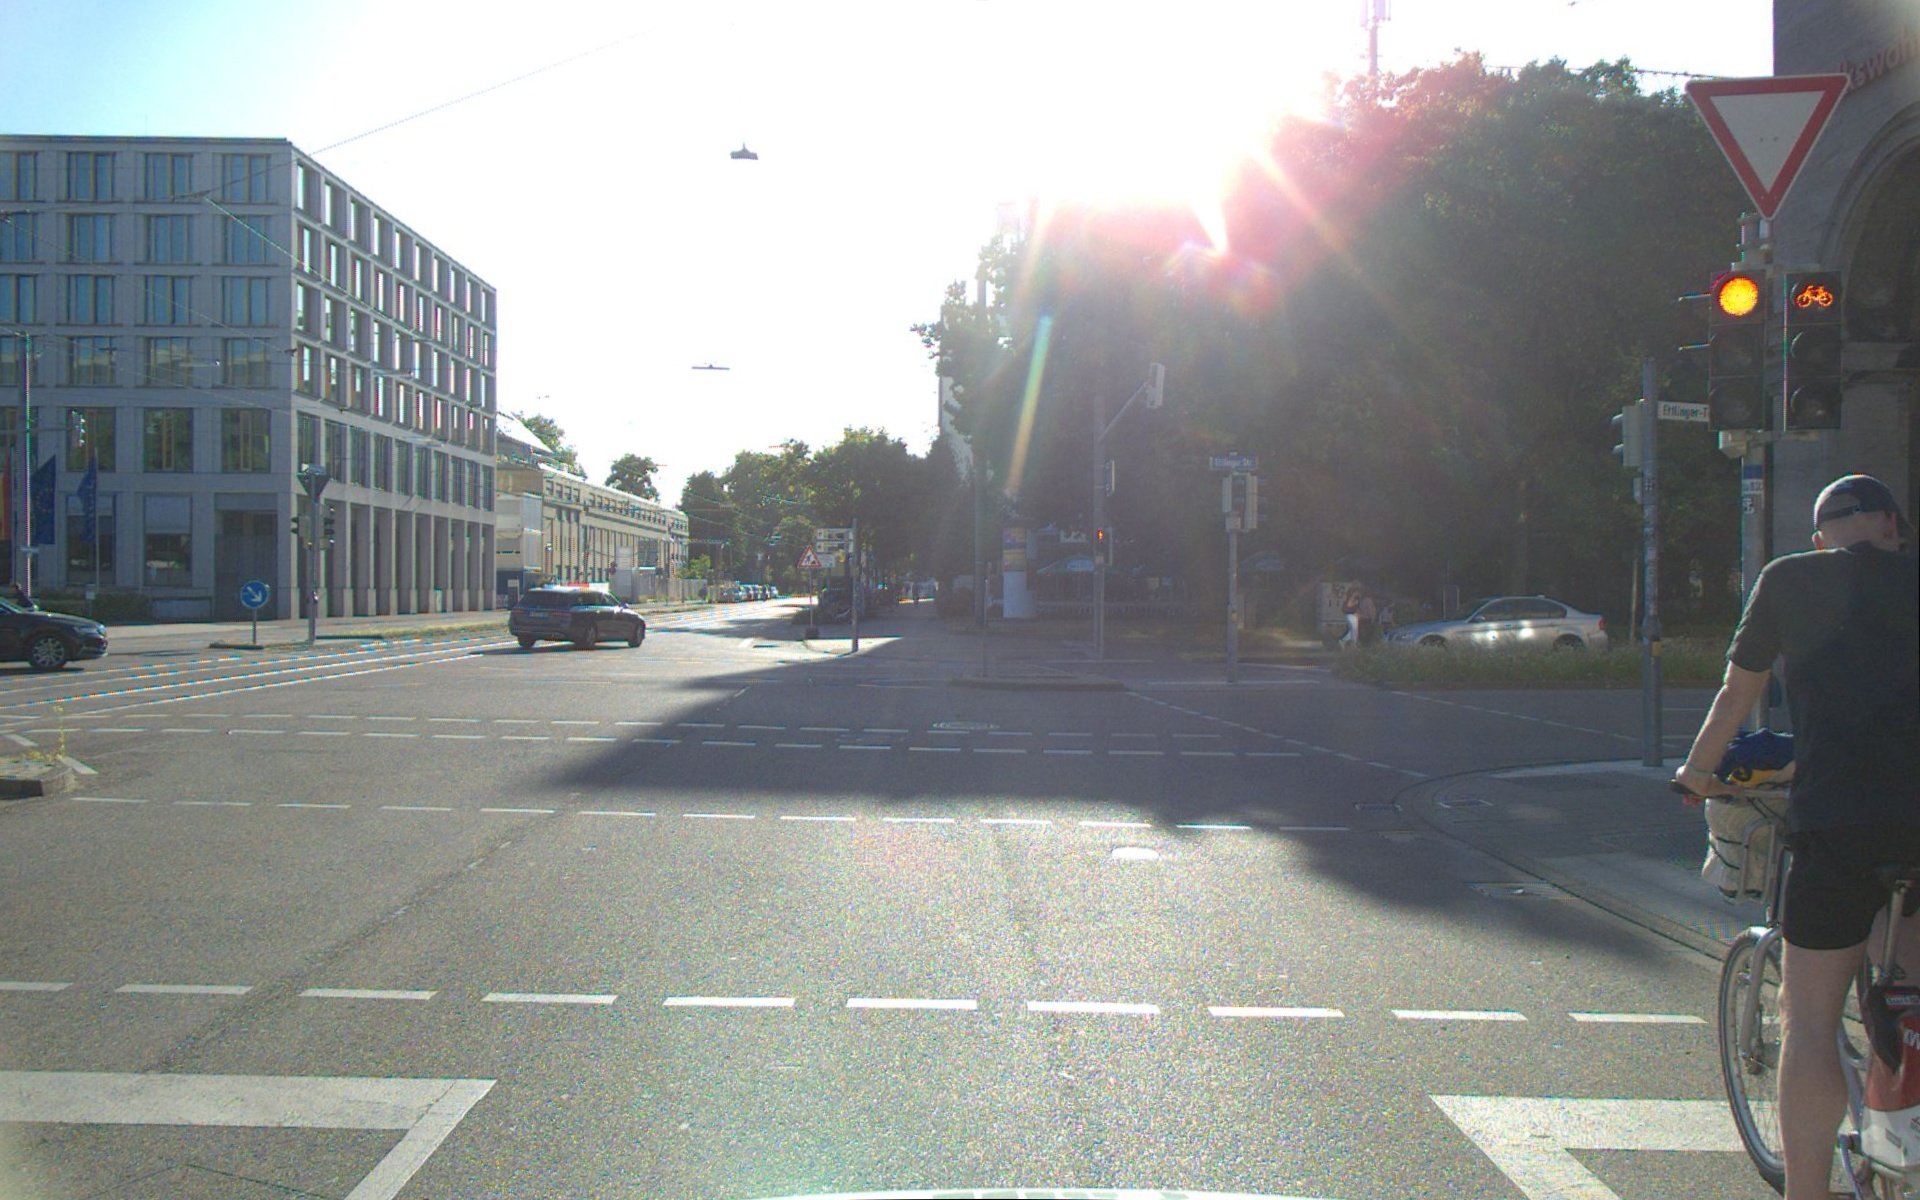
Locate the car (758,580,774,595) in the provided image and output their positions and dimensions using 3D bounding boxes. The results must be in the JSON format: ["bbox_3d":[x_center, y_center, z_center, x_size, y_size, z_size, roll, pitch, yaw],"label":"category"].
[{"bbox_3d":[-22.827,-1.432,194.362,1.659,1.748,4.244,1,0,-4],"label":"car"}]

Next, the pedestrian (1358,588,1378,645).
[{"bbox_3d":[10.999,0.445,44.566,0.430,1.529,0.437,0,0,0],"label":"pedestrian"}]

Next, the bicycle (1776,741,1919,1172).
[{"bbox_3d":[2.864,0.999,4.337,0.523,1.096,1.750,1,0,-2],"label":"bicycle"}]

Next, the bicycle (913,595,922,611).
[{"bbox_3d":[-2.898,0.178,112.624,0.563,1.096,1.830,0,0,-1],"label":"bicycle"}]

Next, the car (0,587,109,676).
[{"bbox_3d":[-16.971,0.515,28.135,4.364,1.481,1.651,1,0,-27],"label":"car"}]

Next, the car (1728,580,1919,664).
[{"bbox_3d":[17.855,0.434,33.559,3.770,1.639,1.650,0,0,-1],"label":"car"}]

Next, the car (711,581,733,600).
[{"bbox_3d":[-22.468,-0.895,156.112,1.659,1.748,4.244,1,0,-4],"label":"car"}]

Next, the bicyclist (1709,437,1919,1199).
[{"bbox_3d":[2.095,0.578,3.731,0.547,1.830,0.550,1,0,1],"label":"bicyclist"}]

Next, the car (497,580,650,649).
[{"bbox_3d":[-9.554,0.331,41.299,1.852,1.592,4.812,1,0,12],"label":"car"}]

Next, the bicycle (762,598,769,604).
[{"bbox_3d":[-17.825,0.128,151.505,0.491,0.524,1.257,1,0,-1],"label":"bicycle"}]

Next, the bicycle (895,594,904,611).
[{"bbox_3d":[-4.092,0.155,112.445,0.563,1.096,1.830,0,0,-1],"label":"bicycle"}]

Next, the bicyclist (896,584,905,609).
[{"bbox_3d":[-4.039,-0.235,112.384,0.558,1.721,0.699,0,0,-1],"label":"bicyclist"}]

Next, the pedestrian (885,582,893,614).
[{"bbox_3d":[-4.214,-0.117,98.211,0.454,1.845,0.502,0,0,-5],"label":"pedestrian"}]

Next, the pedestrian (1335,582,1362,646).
[{"bbox_3d":[10.324,0.365,43.946,0.571,1.692,0.514,1,1,1],"label":"pedestrian"}]

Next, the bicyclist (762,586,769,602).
[{"bbox_3d":[-17.816,-0.551,151.495,0.584,1.401,0.637,1,-1,-2],"label":"bicyclist"}]

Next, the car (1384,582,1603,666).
[{"bbox_3d":[10.775,0.476,33.562,3.912,1.639,1.650,0,0,-1],"label":"car"}]

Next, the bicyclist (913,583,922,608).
[{"bbox_3d":[-2.890,-0.308,112.610,0.558,1.721,0.699,0,0,-1],"label":"bicyclist"}]

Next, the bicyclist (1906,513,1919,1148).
[{"bbox_3d":[2.888,0.627,4.230,0.546,1.721,0.640,1,0,-2],"label":"bicyclist"}]

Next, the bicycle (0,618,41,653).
[{"bbox_3d":[-26.458,0.987,45.652,1.834,0.951,0.757,0,0,-25],"label":"bicycle"}]

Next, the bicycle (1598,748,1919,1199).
[{"bbox_3d":[2.076,0.980,3.890,0.505,1.096,1.728,1,0,1],"label":"bicycle"}]

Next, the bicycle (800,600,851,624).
[{"bbox_3d":[-5.484,0.507,67.383,1.976,0.907,0.650,-2,-1,27],"label":"bicycle"}]

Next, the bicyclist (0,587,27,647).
[{"bbox_3d":[-26.271,0.466,45.736,0.765,1.617,0.755,0,0,-25],"label":"bicyclist"}]

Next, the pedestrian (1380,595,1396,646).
[{"bbox_3d":[11.318,0.550,43.755,0.310,1.339,0.345,1,1,1],"label":"pedestrian"}]
